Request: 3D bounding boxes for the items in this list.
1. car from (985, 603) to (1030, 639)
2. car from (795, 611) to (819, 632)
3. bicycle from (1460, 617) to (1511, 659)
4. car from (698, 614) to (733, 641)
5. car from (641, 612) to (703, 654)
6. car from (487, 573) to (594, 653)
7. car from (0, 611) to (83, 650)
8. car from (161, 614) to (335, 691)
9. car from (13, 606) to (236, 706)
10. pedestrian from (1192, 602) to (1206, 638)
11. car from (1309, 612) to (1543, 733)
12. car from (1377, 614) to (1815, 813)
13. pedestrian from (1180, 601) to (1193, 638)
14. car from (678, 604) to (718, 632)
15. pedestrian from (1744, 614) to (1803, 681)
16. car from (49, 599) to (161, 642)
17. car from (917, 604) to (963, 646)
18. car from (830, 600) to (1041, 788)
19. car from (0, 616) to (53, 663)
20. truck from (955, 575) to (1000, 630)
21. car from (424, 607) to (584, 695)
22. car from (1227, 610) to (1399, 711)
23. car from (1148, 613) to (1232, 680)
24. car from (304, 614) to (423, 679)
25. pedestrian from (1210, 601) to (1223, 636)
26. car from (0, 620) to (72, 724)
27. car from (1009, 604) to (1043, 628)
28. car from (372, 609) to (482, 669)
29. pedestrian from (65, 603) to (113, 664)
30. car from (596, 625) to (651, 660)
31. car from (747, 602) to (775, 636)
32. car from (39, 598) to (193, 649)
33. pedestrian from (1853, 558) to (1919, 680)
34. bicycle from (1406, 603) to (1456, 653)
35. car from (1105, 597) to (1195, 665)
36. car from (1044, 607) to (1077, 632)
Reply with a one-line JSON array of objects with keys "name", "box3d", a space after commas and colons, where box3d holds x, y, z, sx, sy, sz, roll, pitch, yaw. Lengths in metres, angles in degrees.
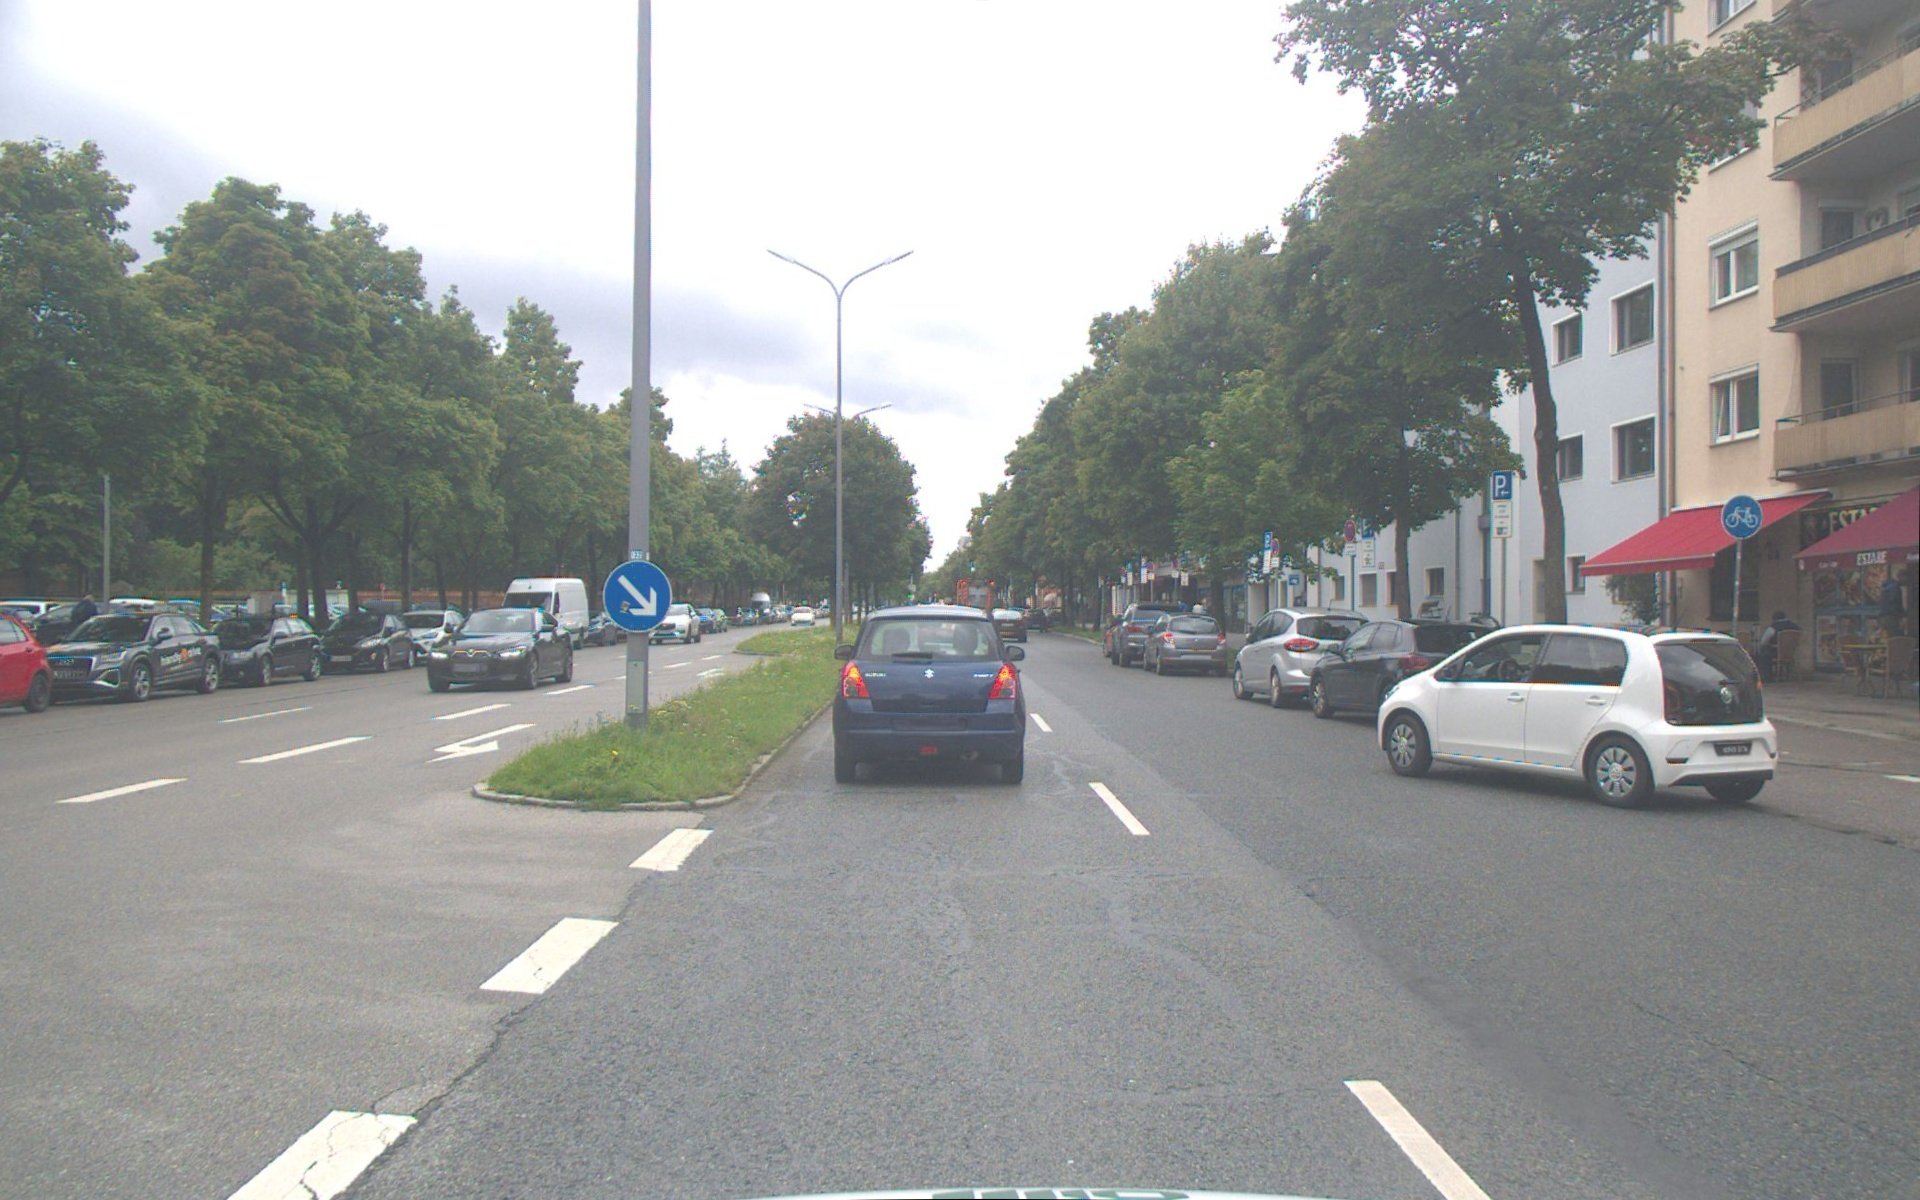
[{"name": "car", "box3d": [2.114, 0.934, 74.978, 1.784, 1.503, 4.689, 2, 0, -1]}, {"name": "car", "box3d": [-12.579, 1.766, 136.383, 1.726, 1.564, 4.311, -2, 0, -3]}, {"name": "bicycle", "box3d": [14.363, 1.033, 45.252, 0.609, 1.064, 2.195, -4, 0, -1]}, {"name": "car", "box3d": [-15.343, 1.713, 104.076, 1.605, 1.564, 4.313, -2, 0, -1]}, {"name": "car", "box3d": [-11.951, 1.348, 68.964, 1.813, 1.628, 4.402, -2, 0, -1]}, {"name": "car", "box3d": [-15.118, 0.439, 60.113, 2.096, 2.690, 7.104, -1, 0, -1]}, {"name": "car", "box3d": [-39.807, 1.276, 70.535, 3.903, 1.624, 1.771, 0, 0, 4]}, {"name": "car", "box3d": [-14.688, 1.049, 34.364, 1.784, 1.434, 4.000, -2, 0, 1]}, {"name": "car", "box3d": [-14.501, 0.929, 28.971, 1.784, 1.627, 4.112, 0, 0, 0]}, {"name": "pedestrian", "box3d": [11.364, 0.953, 78.702, 0.537, 1.658, 0.641, -1, -1, -1]}, {"name": "car", "box3d": [6.247, 0.926, 22.641, 1.794, 1.499, 3.883, 0, 0, -6]}, {"name": "car", "box3d": [5.512, 0.897, 14.697, 1.668, 1.516, 3.403, 1, 0, -28]}, {"name": "pedestrian", "box3d": [10.779, 0.924, 78.692, 0.489, 1.764, 0.732, 0, -1, -1]}, {"name": "car", "box3d": [-15.575, 1.055, 98.419, 1.849, 1.564, 4.312, -2, 0, -3]}, {"name": "pedestrian", "box3d": [14.452, 0.839, 29.391, 0.728, 1.184, 0.646, 0, 0, -1]}, {"name": "car", "box3d": [-42.073, 0.999, 81.473, 4.414, 2.070, 1.999, 0, 0, -2]}, {"name": "car", "box3d": [-0.768, 0.945, 63.300, 1.684, 1.527, 4.299, 1, 0, -1]}, {"name": "car", "box3d": [-0.203, 0.780, 15.559, 1.717, 1.531, 4.000, 0, 0, 0]}, {"name": "car", "box3d": [-27.779, 1.094, 46.200, 3.912, 1.280, 1.687, 0, 0, -8]}, {"name": "truck", "box3d": [1.149, 0.179, 116.855, 2.979, 3.619, 13.673, 1, 0, 0]}, {"name": "car", "box3d": [-8.401, 0.889, 30.885, 1.779, 1.473, 4.780, -1, 0, -2]}, {"name": "car", "box3d": [5.853, 0.953, 27.961, 1.792, 1.549, 4.521, 0, 0, -2]}, {"name": "car", "box3d": [5.592, 1.104, 40.585, 1.791, 1.549, 3.772, 0, 0, 4]}, {"name": "car", "box3d": [-14.704, 1.120, 40.998, 1.786, 1.473, 3.996, -1, 0, -5]}, {"name": "pedestrian", "box3d": [12.266, 0.874, 79.156, 0.530, 1.669, 0.724, 0, -1, -1]}, {"name": "car", "box3d": [-14.785, 1.038, 24.030, 1.785, 1.505, 3.808, 0, -1, -2]}, {"name": "car", "box3d": [4.186, 0.999, 105.723, 1.953, 1.477, 3.999, 0, 0, -1]}, {"name": "car", "box3d": [-14.841, 1.095, 46.289, 1.785, 1.554, 4.297, -2, -1, -2]}, {"name": "pedestrian", "box3d": [-22.265, 0.850, 42.276, 0.778, 1.521, 0.856, 0, 0, -1]}, {"name": "car", "box3d": [-15.371, 1.940, 75.735, 1.820, 1.517, 4.140, 0, -1, -2]}, {"name": "car", "box3d": [-18.291, 1.715, 152.443, 2.142, 3.005, 6.187, 1, 0, -3]}, {"name": "car", "box3d": [-26.509, 0.732, 52.053, 3.905, 1.598, 1.815, 0, 0, 1]}, {"name": "pedestrian", "box3d": [15.286, 0.304, 27.126, 0.854, 1.963, 0.757, 0, -1, -17]}, {"name": "bicycle", "box3d": [14.083, 0.819, 49.503, 0.688, 1.432, 2.592, -2, 0, -1]}, {"name": "car", "box3d": [5.192, 0.831, 45.657, 1.792, 1.777, 4.506, 0, 0, -2]}, {"name": "car", "box3d": [6.861, 1.312, 113.374, 1.953, 1.671, 4.332, 0, 0, -1]}]
